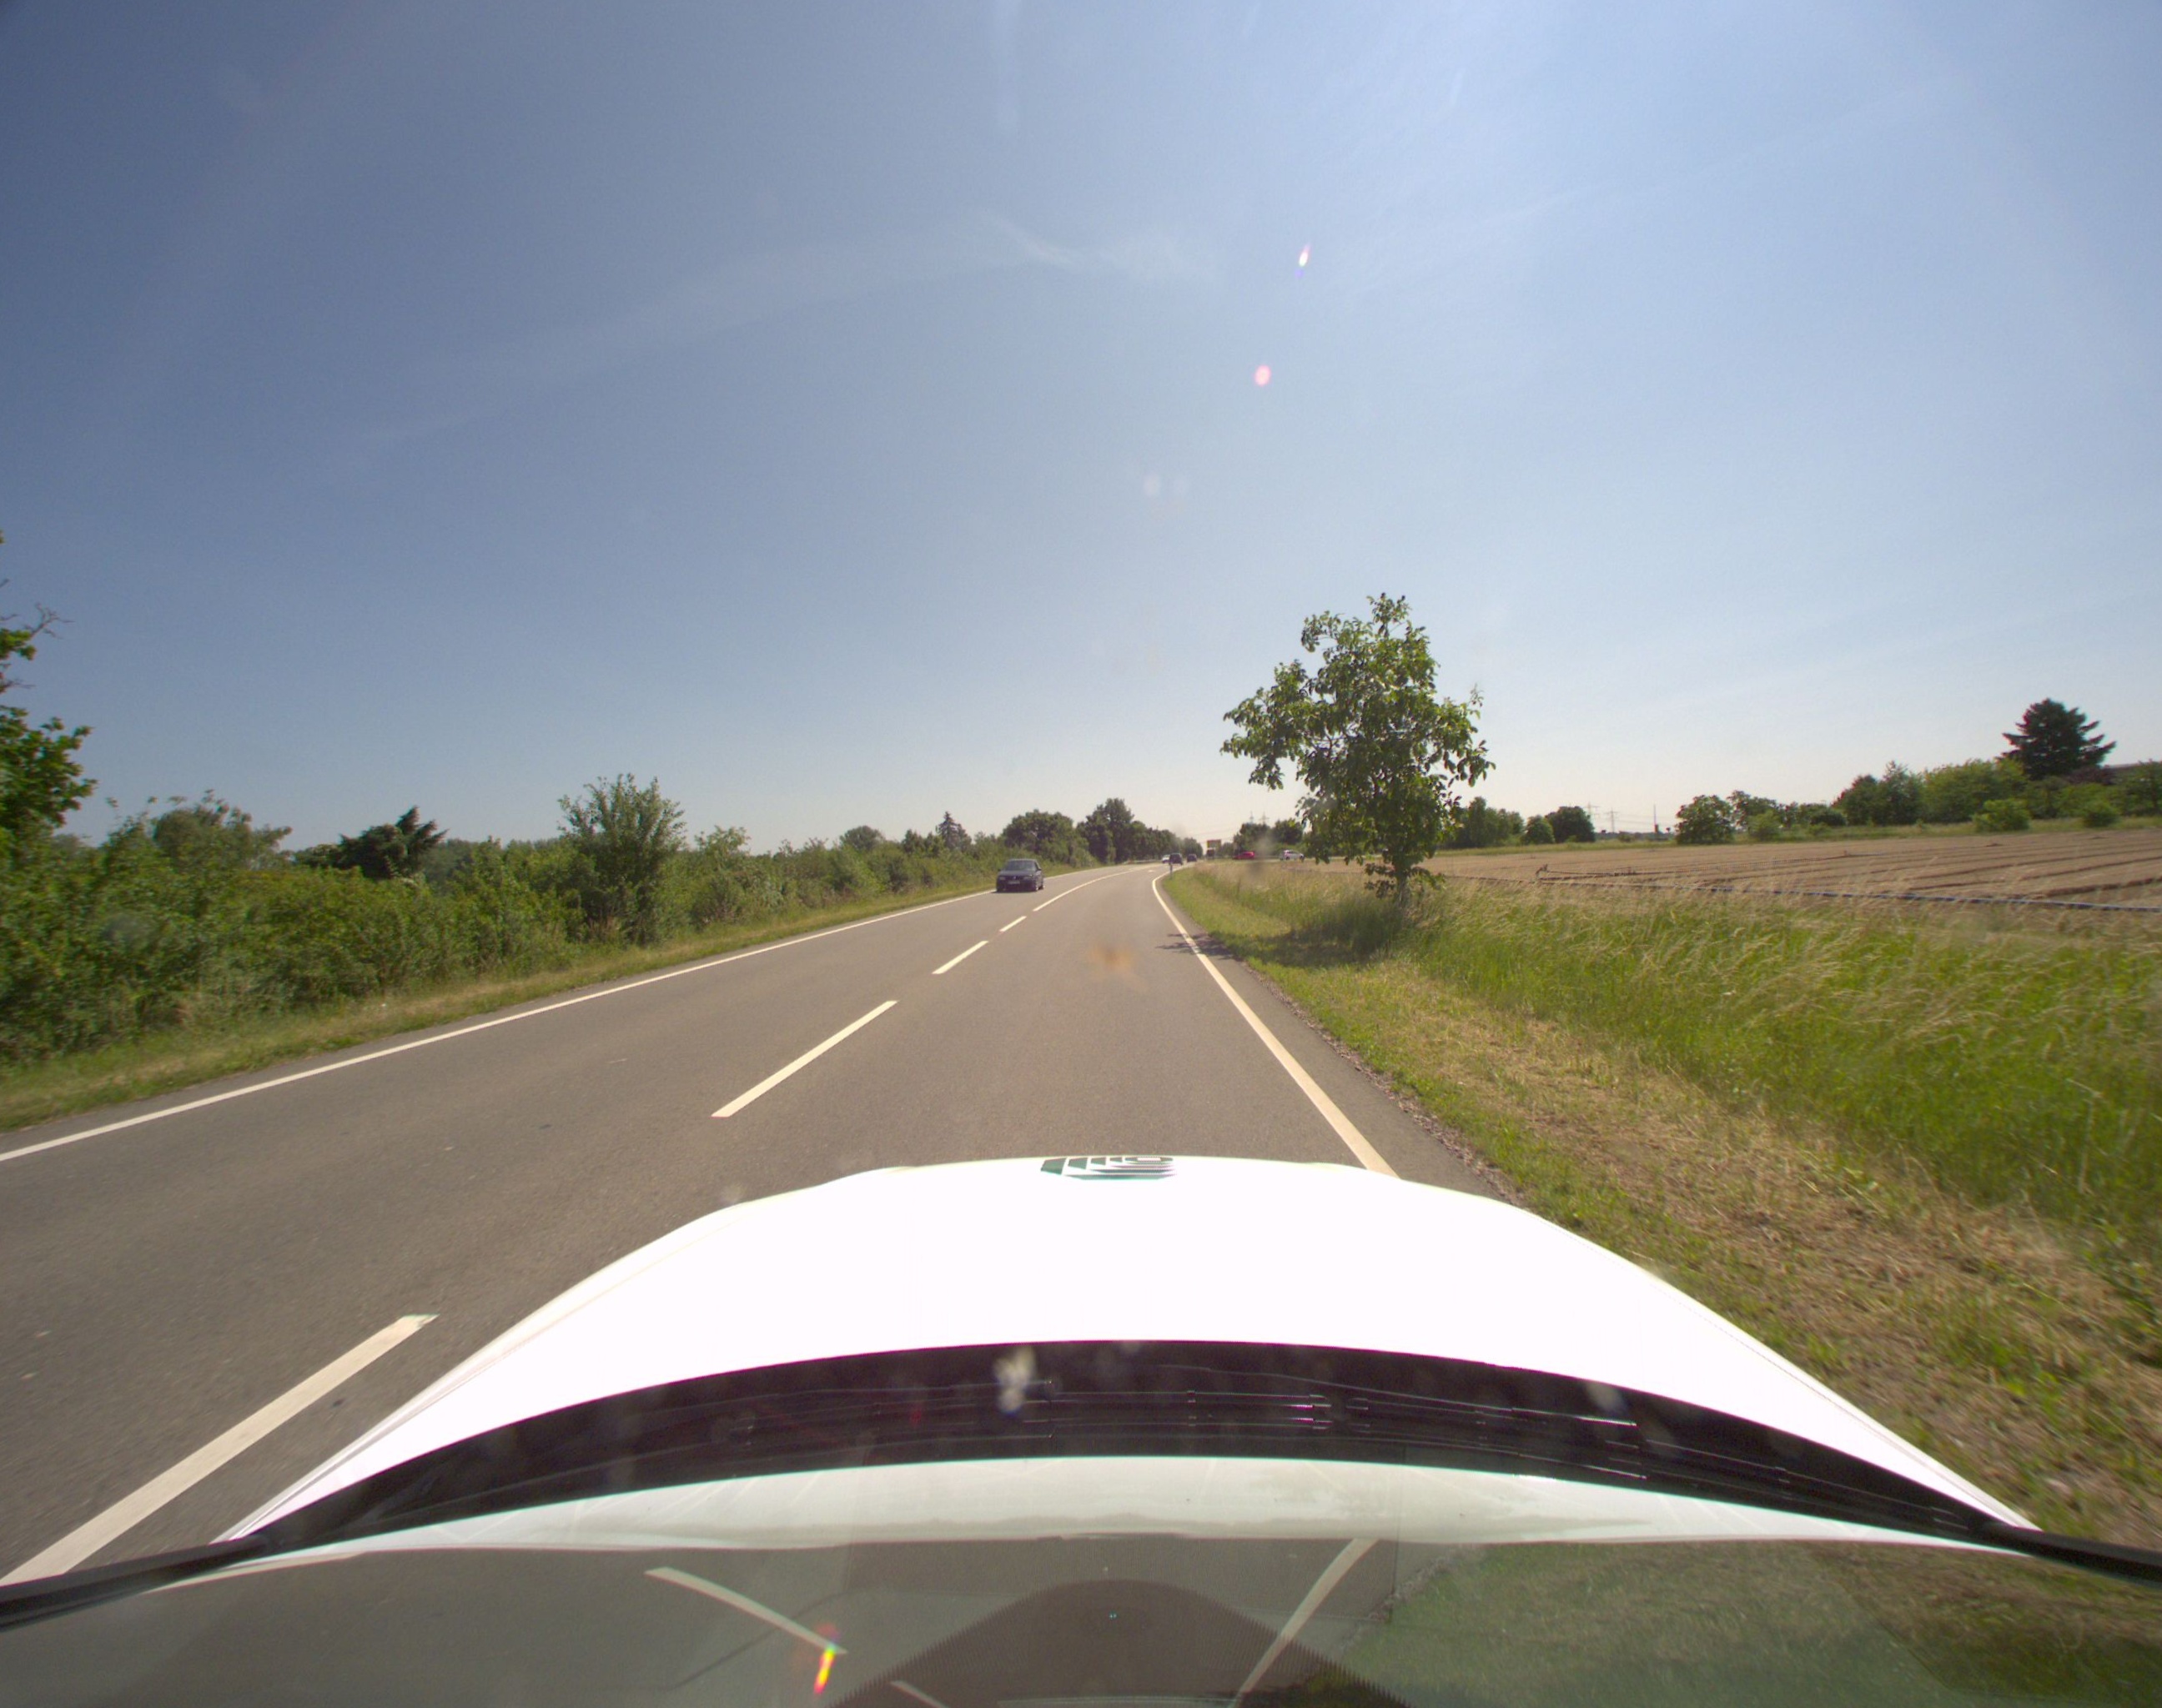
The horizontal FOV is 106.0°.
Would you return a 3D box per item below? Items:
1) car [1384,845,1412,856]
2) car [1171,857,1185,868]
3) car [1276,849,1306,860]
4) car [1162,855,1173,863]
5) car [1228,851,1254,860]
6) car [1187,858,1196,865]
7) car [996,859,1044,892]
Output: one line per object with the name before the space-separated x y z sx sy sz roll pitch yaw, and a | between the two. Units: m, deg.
car | 50.895 -0.532 130.782 3.958 1.623 1.651 -3 -1 14
car | 13.948 1.198 116.760 1.873 1.518 4.050 -1 -1 9
car | 33.591 0.116 130.228 4.148 1.623 2.054 -2 -1 -24
car | 15.686 0.853 147.422 1.826 1.418 4.725 -1 0 7
car | 28.277 0.262 143.921 4.115 1.418 1.789 -2 -1 24
car | 20.655 1.374 151.957 1.634 1.341 4.050 -1 -1 9
car | -2.632 0.899 36.049 1.686 1.362 3.828 -1 -1 2
